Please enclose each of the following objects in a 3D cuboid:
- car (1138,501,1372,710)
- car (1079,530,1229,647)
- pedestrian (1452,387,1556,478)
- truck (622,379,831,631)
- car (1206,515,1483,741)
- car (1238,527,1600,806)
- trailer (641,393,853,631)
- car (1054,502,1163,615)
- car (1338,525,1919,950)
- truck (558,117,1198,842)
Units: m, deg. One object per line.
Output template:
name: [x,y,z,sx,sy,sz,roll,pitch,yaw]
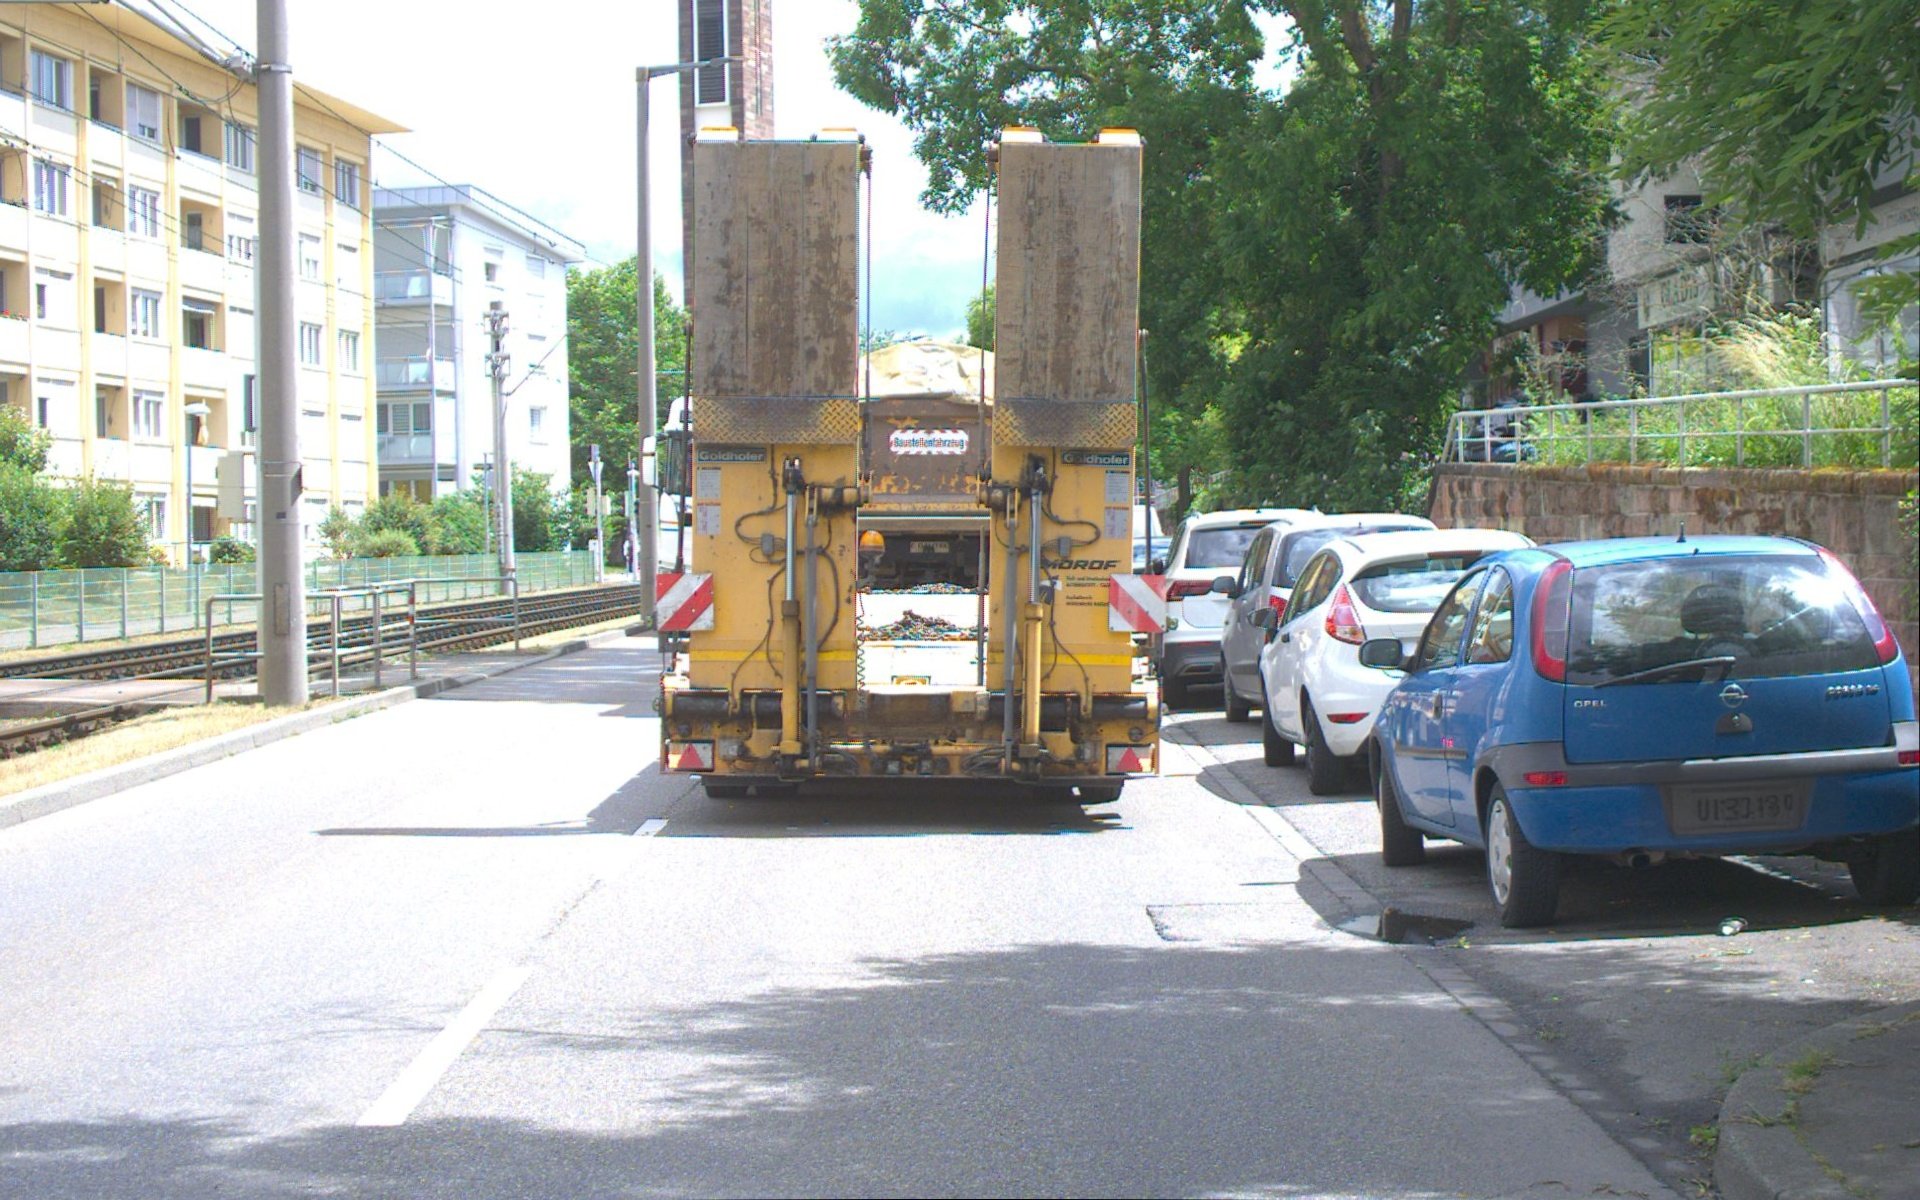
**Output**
car: [2.540,-0.019,30.521,1.824,1.676,4.576,-1,2,2]
car: [2.551,-0.191,46.005,1.836,1.400,4.414,-2,2,2]
pedestrian: [4.826,-1.484,30.521,0.795,0.787,0.705,-1,1,-1]
truck: [-3.451,-1.437,52.115,2.698,3.568,6.145,0,2,0]
car: [2.813,0.152,25.751,1.581,1.547,3.475,-1,2,-2]
car: [2.664,0.326,20.705,1.645,1.484,3.822,-1,2,0]
trailer: [-3.427,-1.518,58.768,2.698,3.568,13.676,0,2,0]
car: [2.720,-0.811,63.730,1.799,1.961,4.590,-2,2,0]
car: [2.668,0.453,14.200,1.608,1.451,3.676,-2,2,-2]
truck: [-0.505,-0.770,23.223,3.124,3.552,12.461,-1,2,-1]
